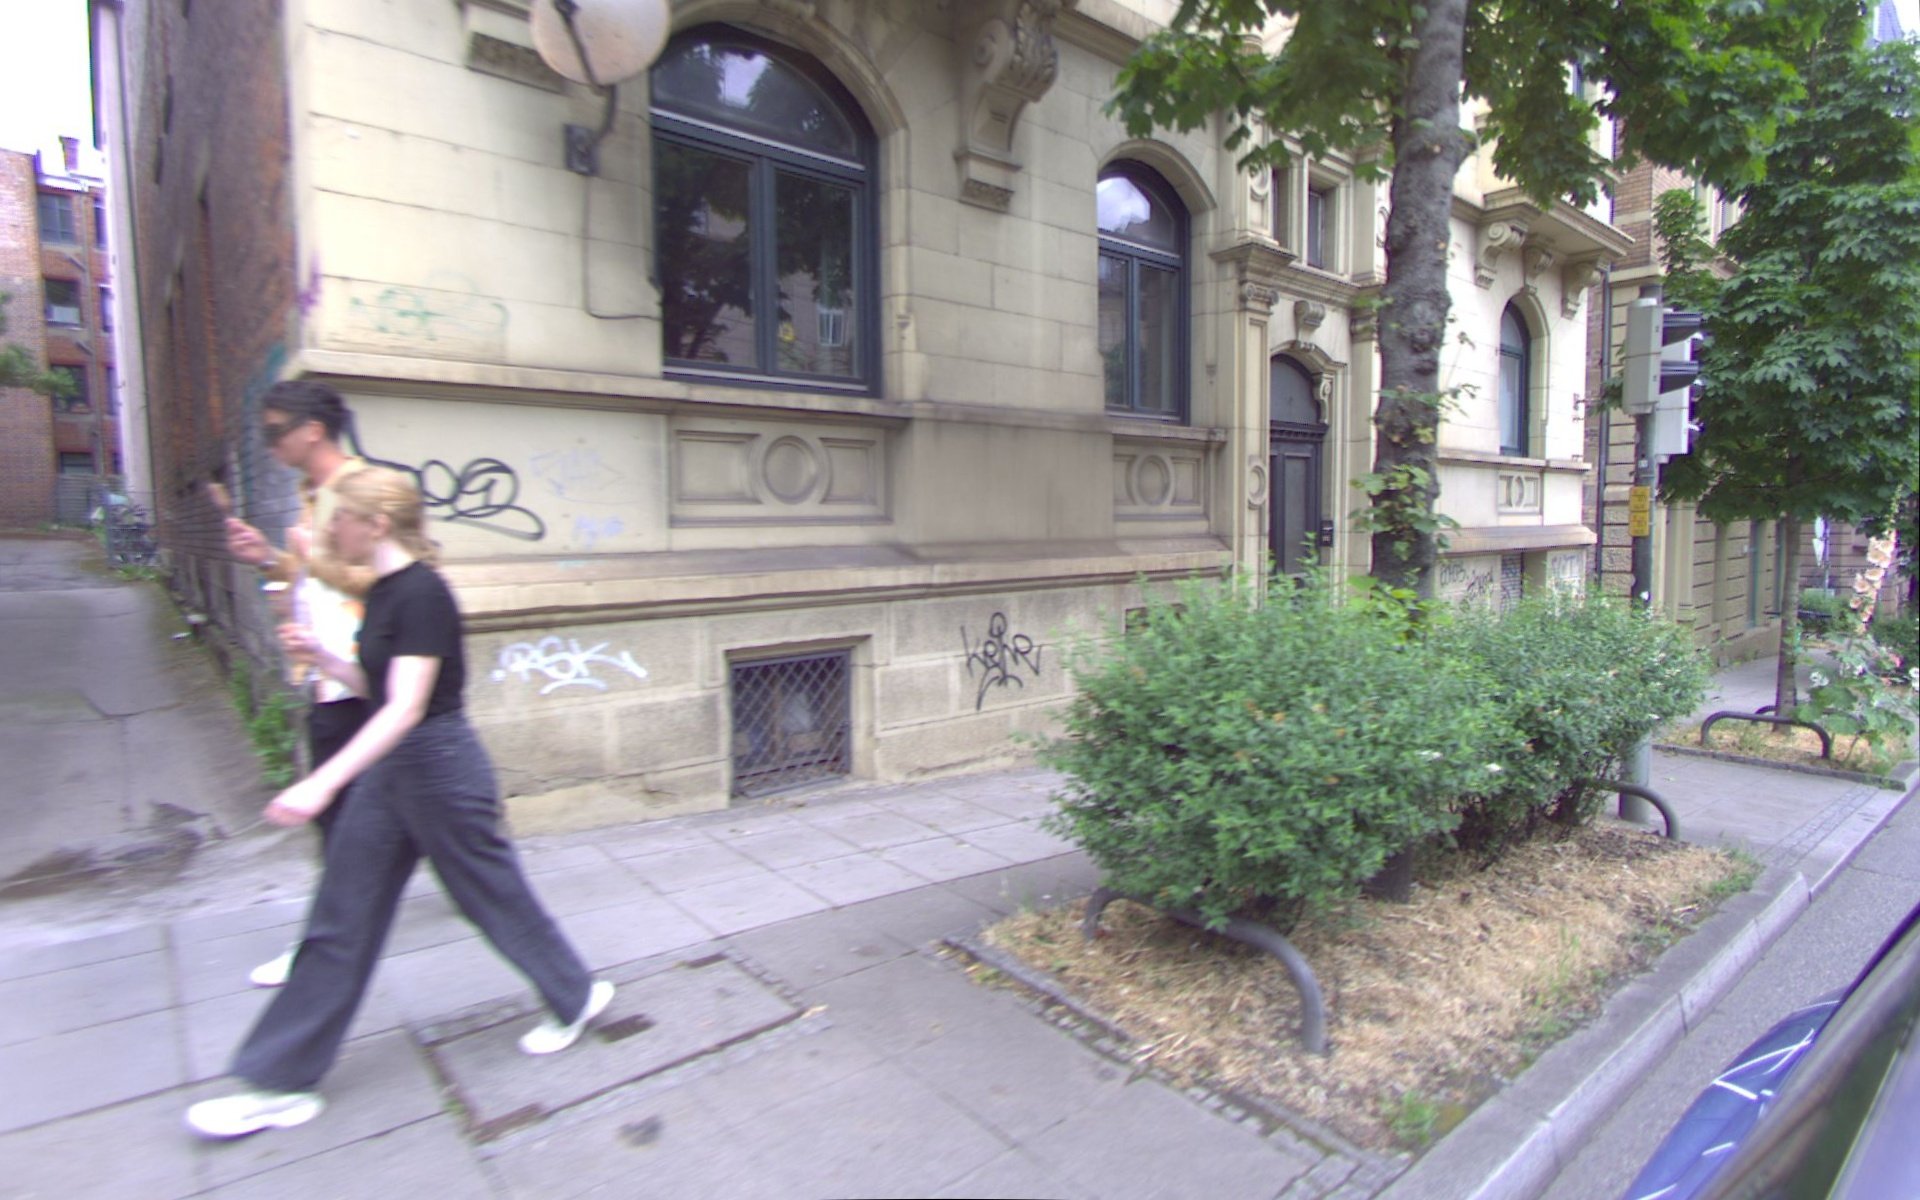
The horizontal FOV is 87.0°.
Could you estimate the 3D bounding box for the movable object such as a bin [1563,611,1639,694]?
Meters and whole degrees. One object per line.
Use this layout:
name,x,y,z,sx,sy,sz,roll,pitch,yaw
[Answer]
movable object such as a bin,7.869,0.630,12.436,0.484,0.930,0.613,0,4,-38

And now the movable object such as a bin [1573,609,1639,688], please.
movable object such as a bin,8.235,0.614,12.913,0.493,0.930,0.492,3,3,8

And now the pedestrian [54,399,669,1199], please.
pedestrian,-1.461,0.370,2.586,1.196,1.592,0.687,-3,5,-41

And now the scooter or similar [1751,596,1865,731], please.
scooter or similar,9.206,0.640,10.977,1.360,1.319,0.663,-1,4,-41

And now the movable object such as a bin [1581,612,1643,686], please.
movable object such as a bin,8.641,0.640,13.419,0.434,0.930,0.503,1,2,-21

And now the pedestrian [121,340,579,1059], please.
pedestrian,-1.893,0.226,3.203,1.102,1.851,0.687,-3,5,-41
